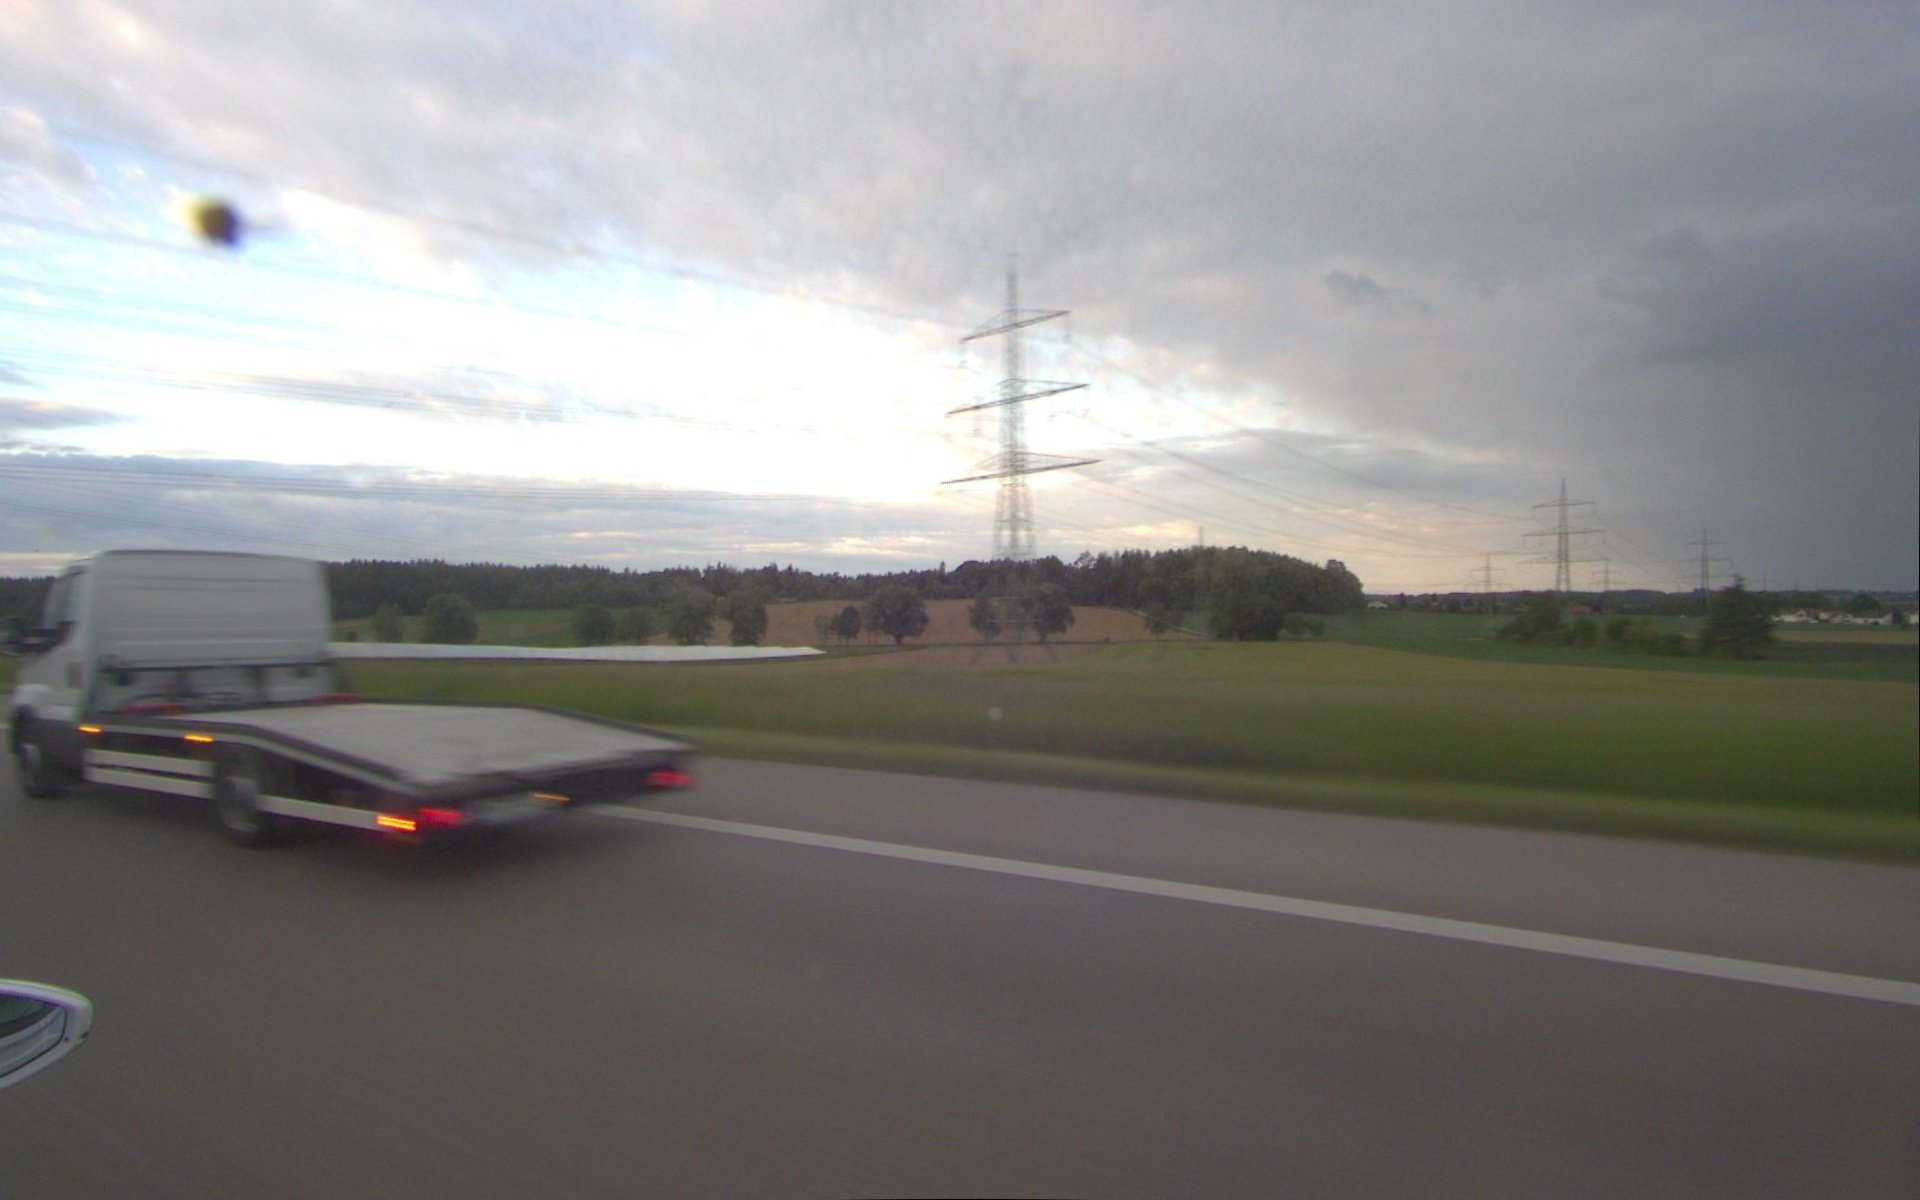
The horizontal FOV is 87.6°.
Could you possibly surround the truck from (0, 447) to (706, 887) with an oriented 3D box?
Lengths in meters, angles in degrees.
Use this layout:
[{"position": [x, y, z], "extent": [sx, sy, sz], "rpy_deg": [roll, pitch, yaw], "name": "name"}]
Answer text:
[{"position": [-5.619, 0.457, 8.427], "extent": [7.587, 2.390, 2.168], "rpy_deg": [-1, -2, 33], "name": "truck"}]
